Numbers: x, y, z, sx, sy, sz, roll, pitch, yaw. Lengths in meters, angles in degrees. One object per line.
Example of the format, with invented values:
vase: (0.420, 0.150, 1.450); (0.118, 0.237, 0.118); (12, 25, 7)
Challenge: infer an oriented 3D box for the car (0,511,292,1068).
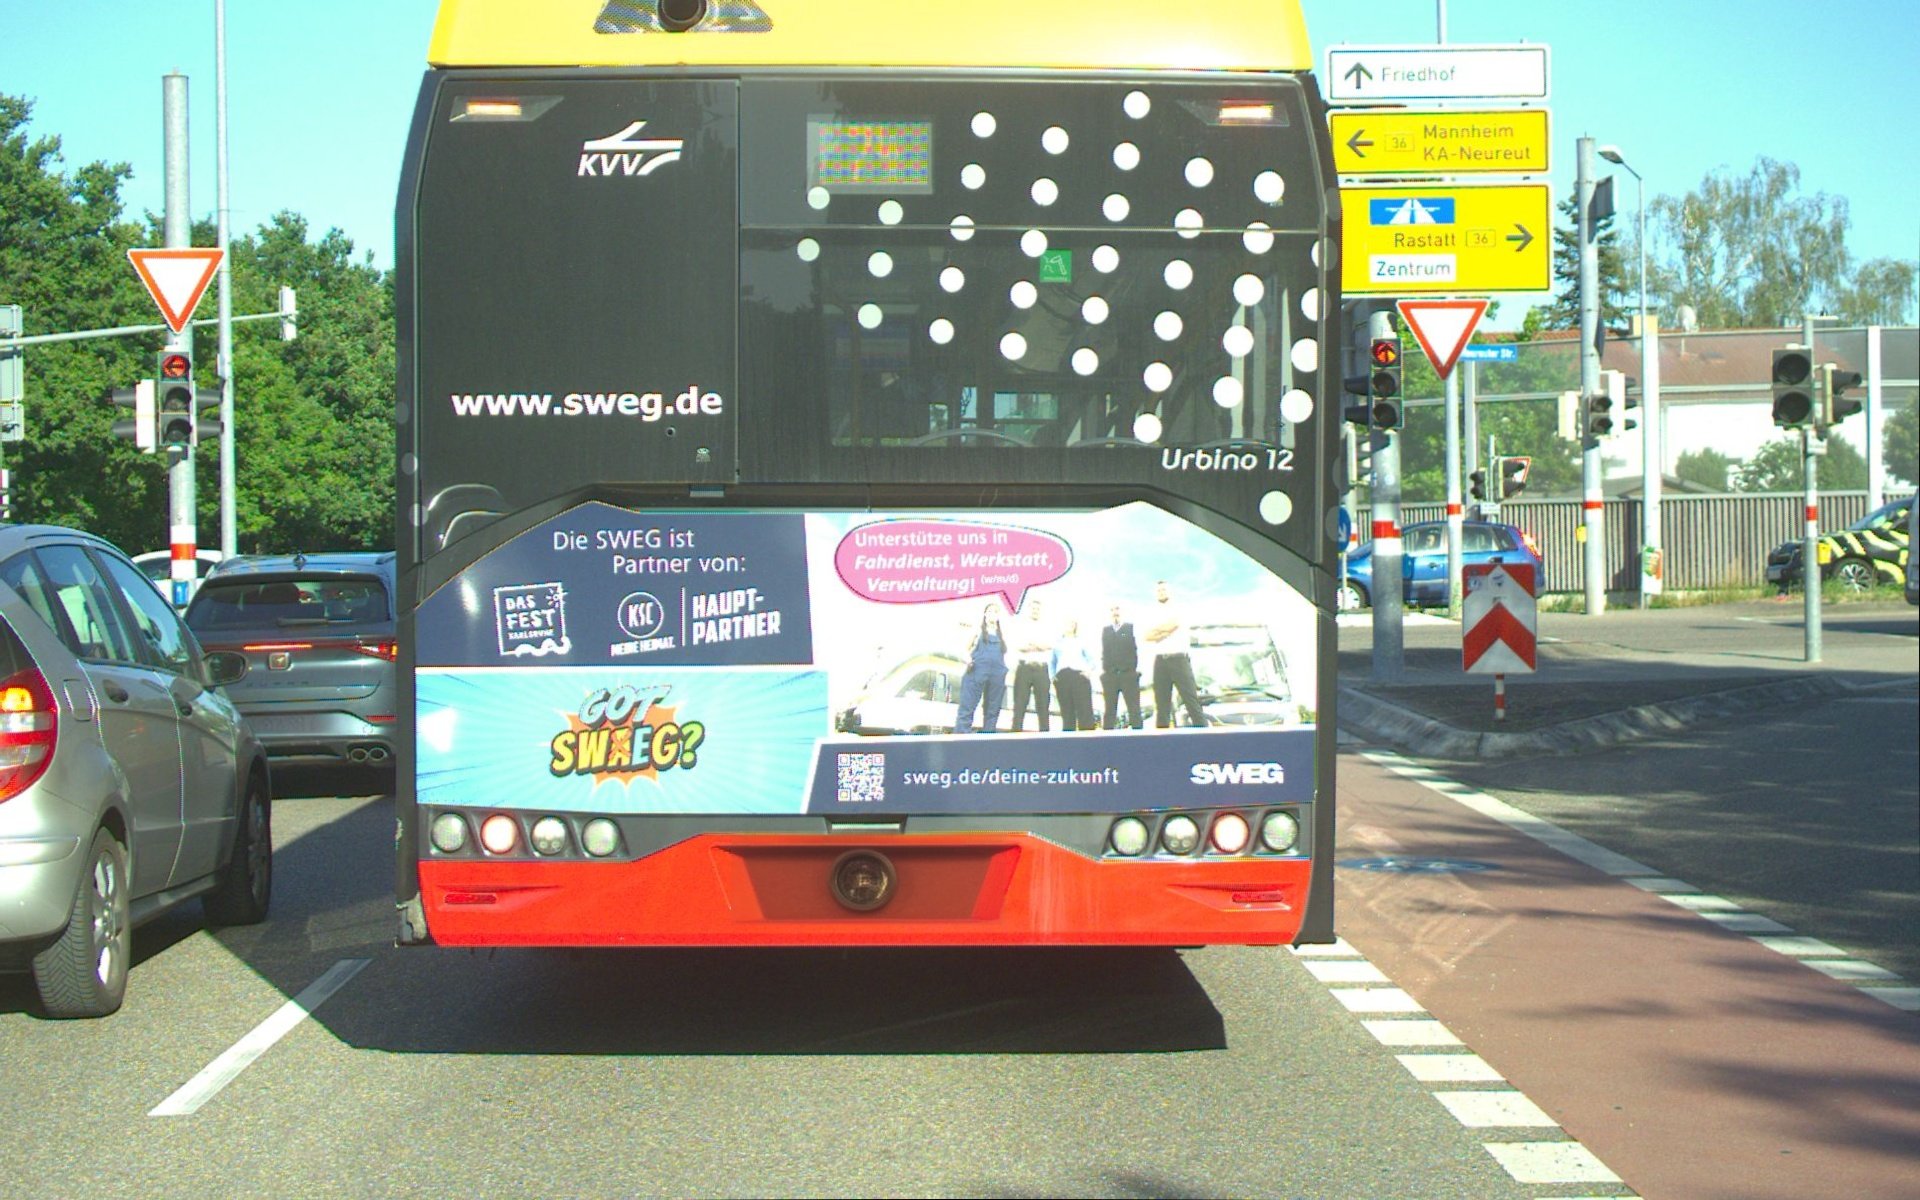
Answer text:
car: (-3.587, 0.525, 12.245); (1.753, 1.614, 4.034); (-1, 2, -2)

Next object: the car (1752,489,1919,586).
car: (13.288, -0.845, 47.776); (4.159, 1.298, 1.575); (0, 0, -3)

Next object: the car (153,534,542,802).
car: (-3.652, 0.370, 21.070); (1.588, 1.480, 3.682); (-1, 0, 2)

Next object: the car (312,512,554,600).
car: (-8.011, -0.677, 52.483); (3.522, 1.298, 1.575); (0, 1, -3)

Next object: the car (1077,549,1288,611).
car: (4.181, -0.391, 64.806); (3.765, 1.132, 1.571); (0, 1, 40)

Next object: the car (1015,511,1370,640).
car: (2.881, -0.299, 43.210); (4.220, 1.557, 1.763); (0, 0, -5)

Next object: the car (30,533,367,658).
car: (-10.741, -0.063, 48.759); (4.526, 1.709, 2.000); (0, 0, -8)

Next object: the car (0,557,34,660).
car: (-16.794, 0.142, 54.245); (3.986, 1.606, 1.696); (-1, 1, -6)

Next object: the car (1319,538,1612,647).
car: (7.457, -0.107, 50.899); (3.986, 1.547, 1.696); (0, 0, -7)

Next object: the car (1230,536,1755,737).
car: (3.727, 0.230, 24.255); (3.523, 1.297, 1.574); (1, 2, 8)

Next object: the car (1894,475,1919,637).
car: (12.663, -0.516, 38.259); (4.111, 1.795, 1.458); (-1, 0, -4)

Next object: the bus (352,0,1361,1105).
bus: (-0.339, -0.469, 14.905); (2.596, 3.323, 11.984); (0, 1, -1)
